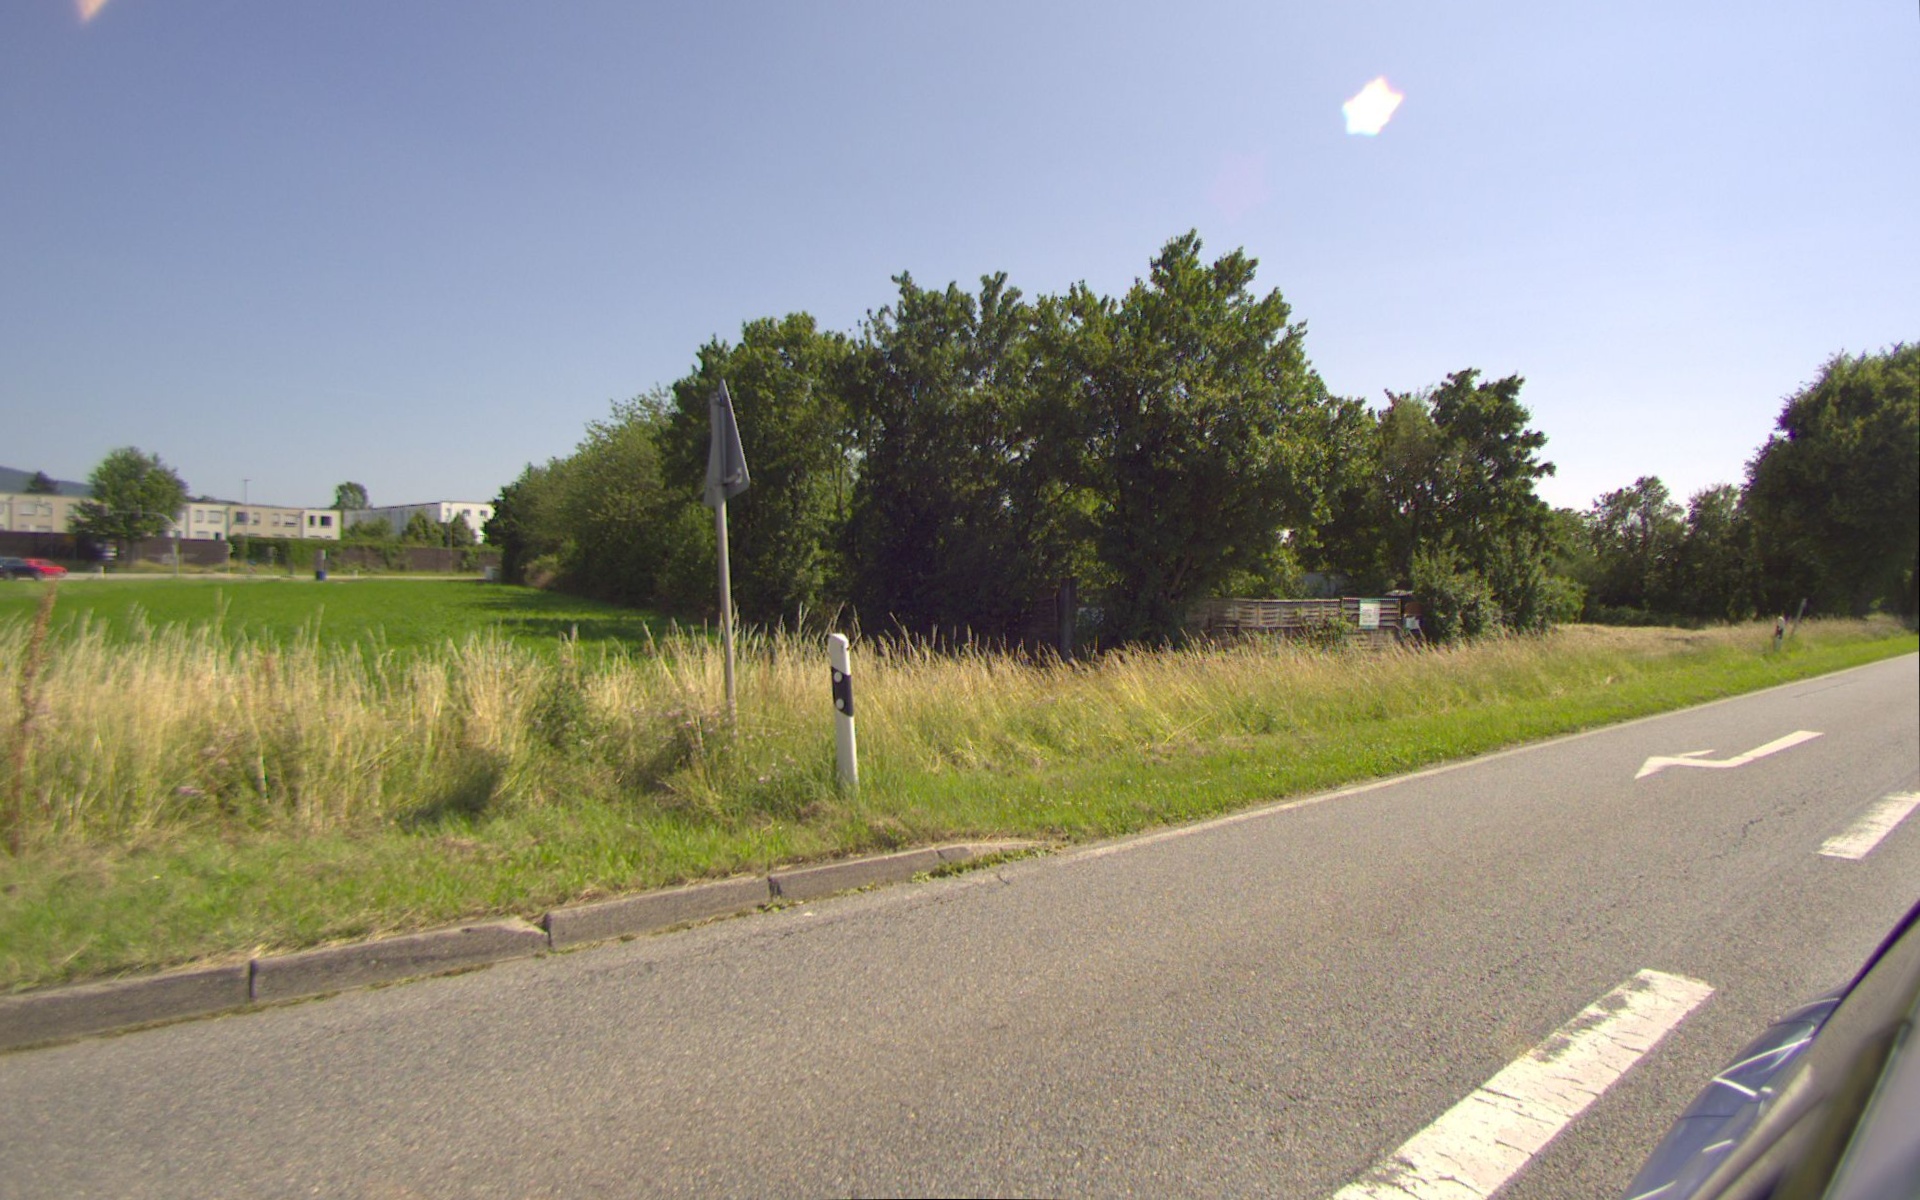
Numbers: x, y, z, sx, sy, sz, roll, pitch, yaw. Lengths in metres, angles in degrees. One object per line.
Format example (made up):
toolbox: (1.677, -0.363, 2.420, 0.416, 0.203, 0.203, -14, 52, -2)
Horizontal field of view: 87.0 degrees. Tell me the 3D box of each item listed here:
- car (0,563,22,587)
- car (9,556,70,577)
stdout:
car: (-68.689, -1.797, 71.710, 1.958, 1.637, 4.348, 1, 1, -25)
car: (-72.625, -2.617, 79.909, 1.738, 1.566, 4.008, 1, 1, -11)
